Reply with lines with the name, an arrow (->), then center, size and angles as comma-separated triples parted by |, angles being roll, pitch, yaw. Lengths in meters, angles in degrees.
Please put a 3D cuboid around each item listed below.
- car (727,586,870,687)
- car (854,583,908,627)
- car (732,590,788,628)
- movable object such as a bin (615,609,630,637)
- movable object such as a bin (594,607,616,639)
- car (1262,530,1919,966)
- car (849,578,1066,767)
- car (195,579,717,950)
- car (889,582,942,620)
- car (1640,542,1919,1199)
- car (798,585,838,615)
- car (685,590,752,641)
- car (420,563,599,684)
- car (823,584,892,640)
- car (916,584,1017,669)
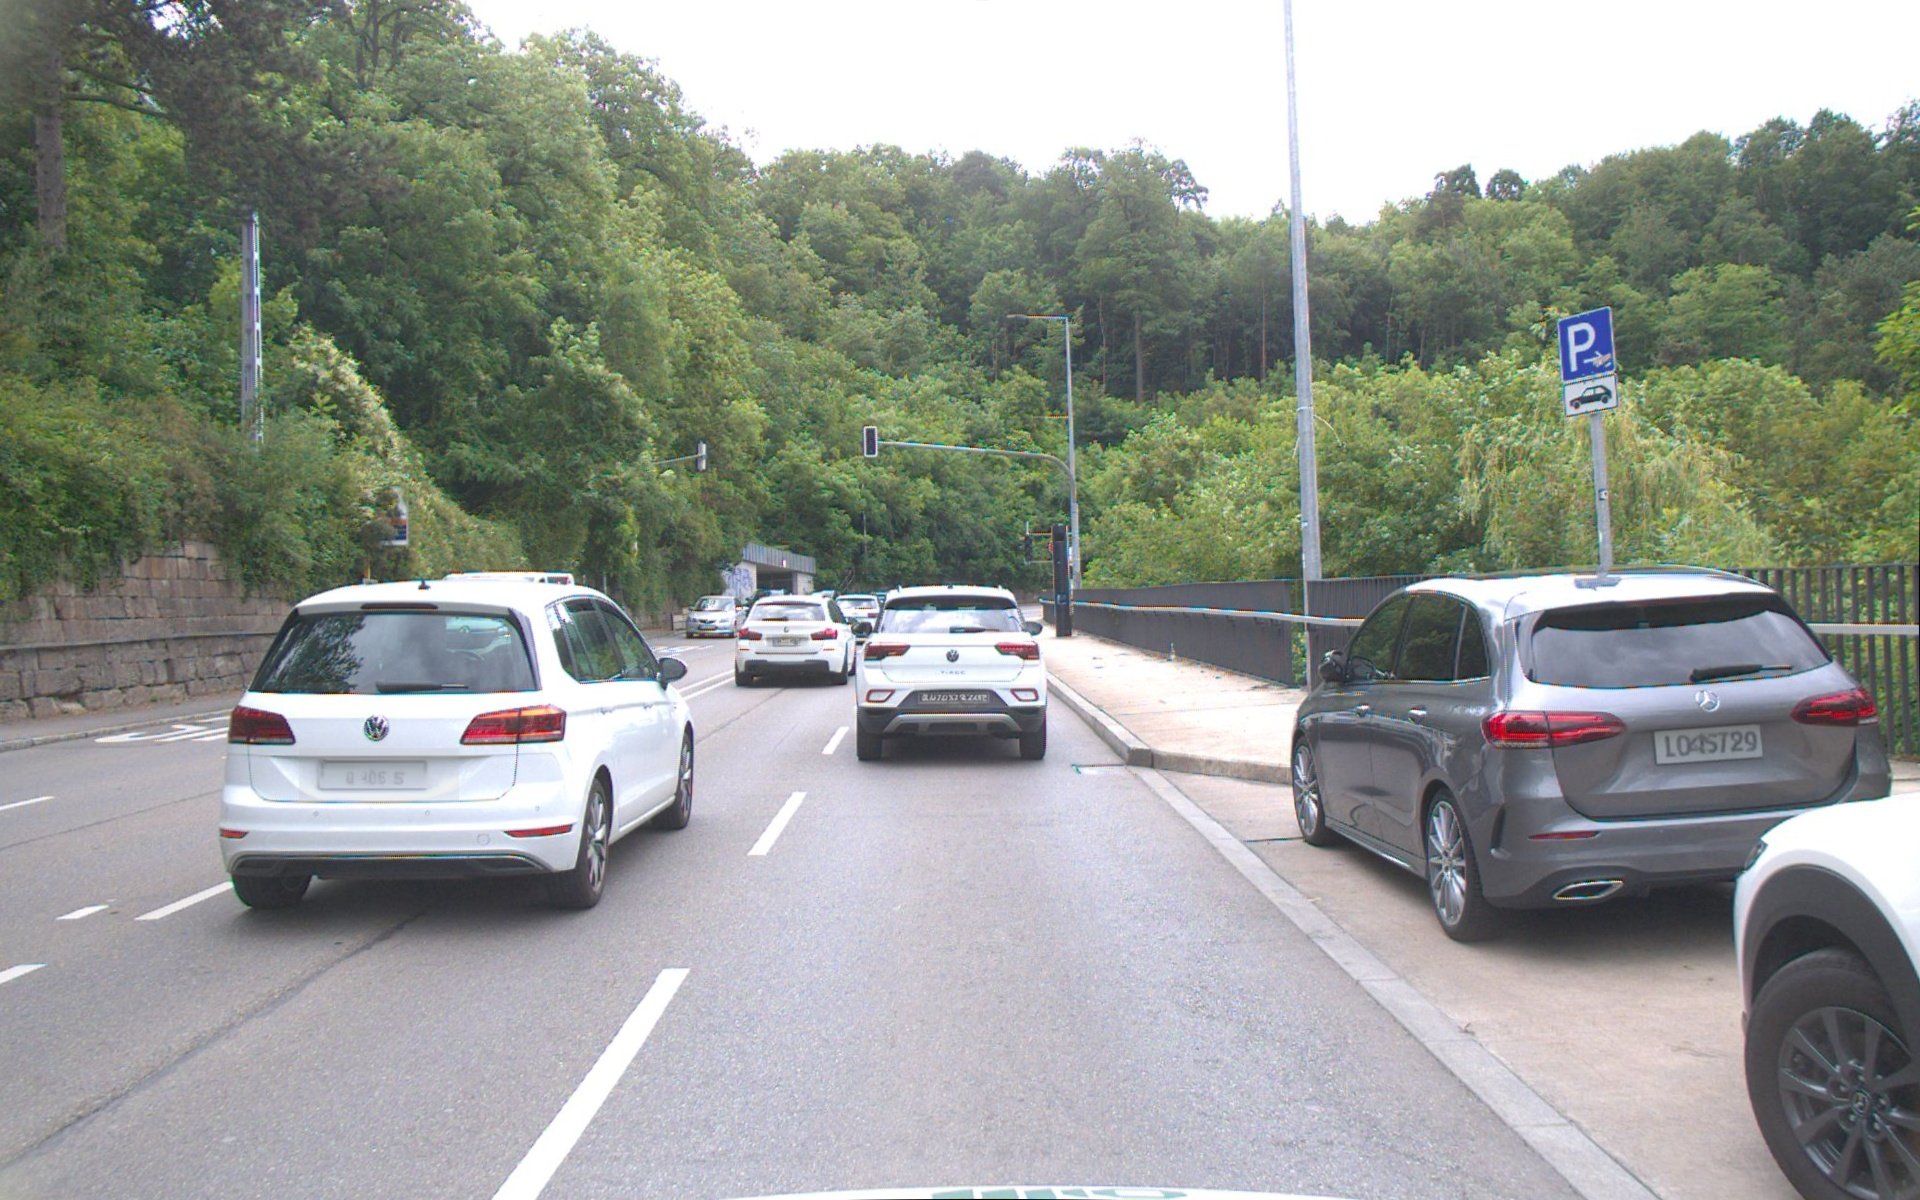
car -> -2.680, 0.569, 28.461 | 1.952, 1.585, 4.681 | 0, 0, 0
car -> -3.342, 0.204, 70.357 | 1.952, 1.771, 4.001 | 0, 0, 2
car -> -8.768, 0.395, 72.811 | 1.902, 1.576, 4.248 | -1, 0, 0
movable object such as a bin -> -11.660, 0.785, 57.070 | 0.418, 0.966, 0.479 | 1, 0, -2
movable object such as a bin -> -12.230, 0.774, 56.948 | 0.629, 1.086, 0.556 | 1, 0, -2
car -> 2.917, 0.564, 8.639 | 1.721, 1.570, 4.426 | -4, 0, -1
car -> -0.150, 0.621, 16.233 | 1.778, 1.566, 4.004 | -1, 0, -5
car -> -2.484, 0.699, 9.271 | 1.685, 1.581, 4.274 | 0, 0, -1
car -> -2.241, 0.033, 84.393 | 1.951, 1.897, 4.003 | 0, 0, 9
car -> 2.820, 0.643, 2.364 | 1.691, 1.596, 4.623 | -2, 0, -1
car -> -7.324, -0.016, 85.513 | 1.745, 1.508, 4.211 | 1, 1, -1
car -> -8.310, 0.511, 57.201 | 1.641, 1.467, 4.235 | 1, 3, 1
car -> -8.311, 0.395, 31.056 | 1.882, 2.040, 5.355 | -1, 0, 0
car -> -3.084, 0.348, 50.463 | 1.824, 1.623, 4.000 | 1, 0, 0
car -> 0.222, 0.600, 39.145 | 1.951, 1.875, 4.153 | 1, 0, 6
